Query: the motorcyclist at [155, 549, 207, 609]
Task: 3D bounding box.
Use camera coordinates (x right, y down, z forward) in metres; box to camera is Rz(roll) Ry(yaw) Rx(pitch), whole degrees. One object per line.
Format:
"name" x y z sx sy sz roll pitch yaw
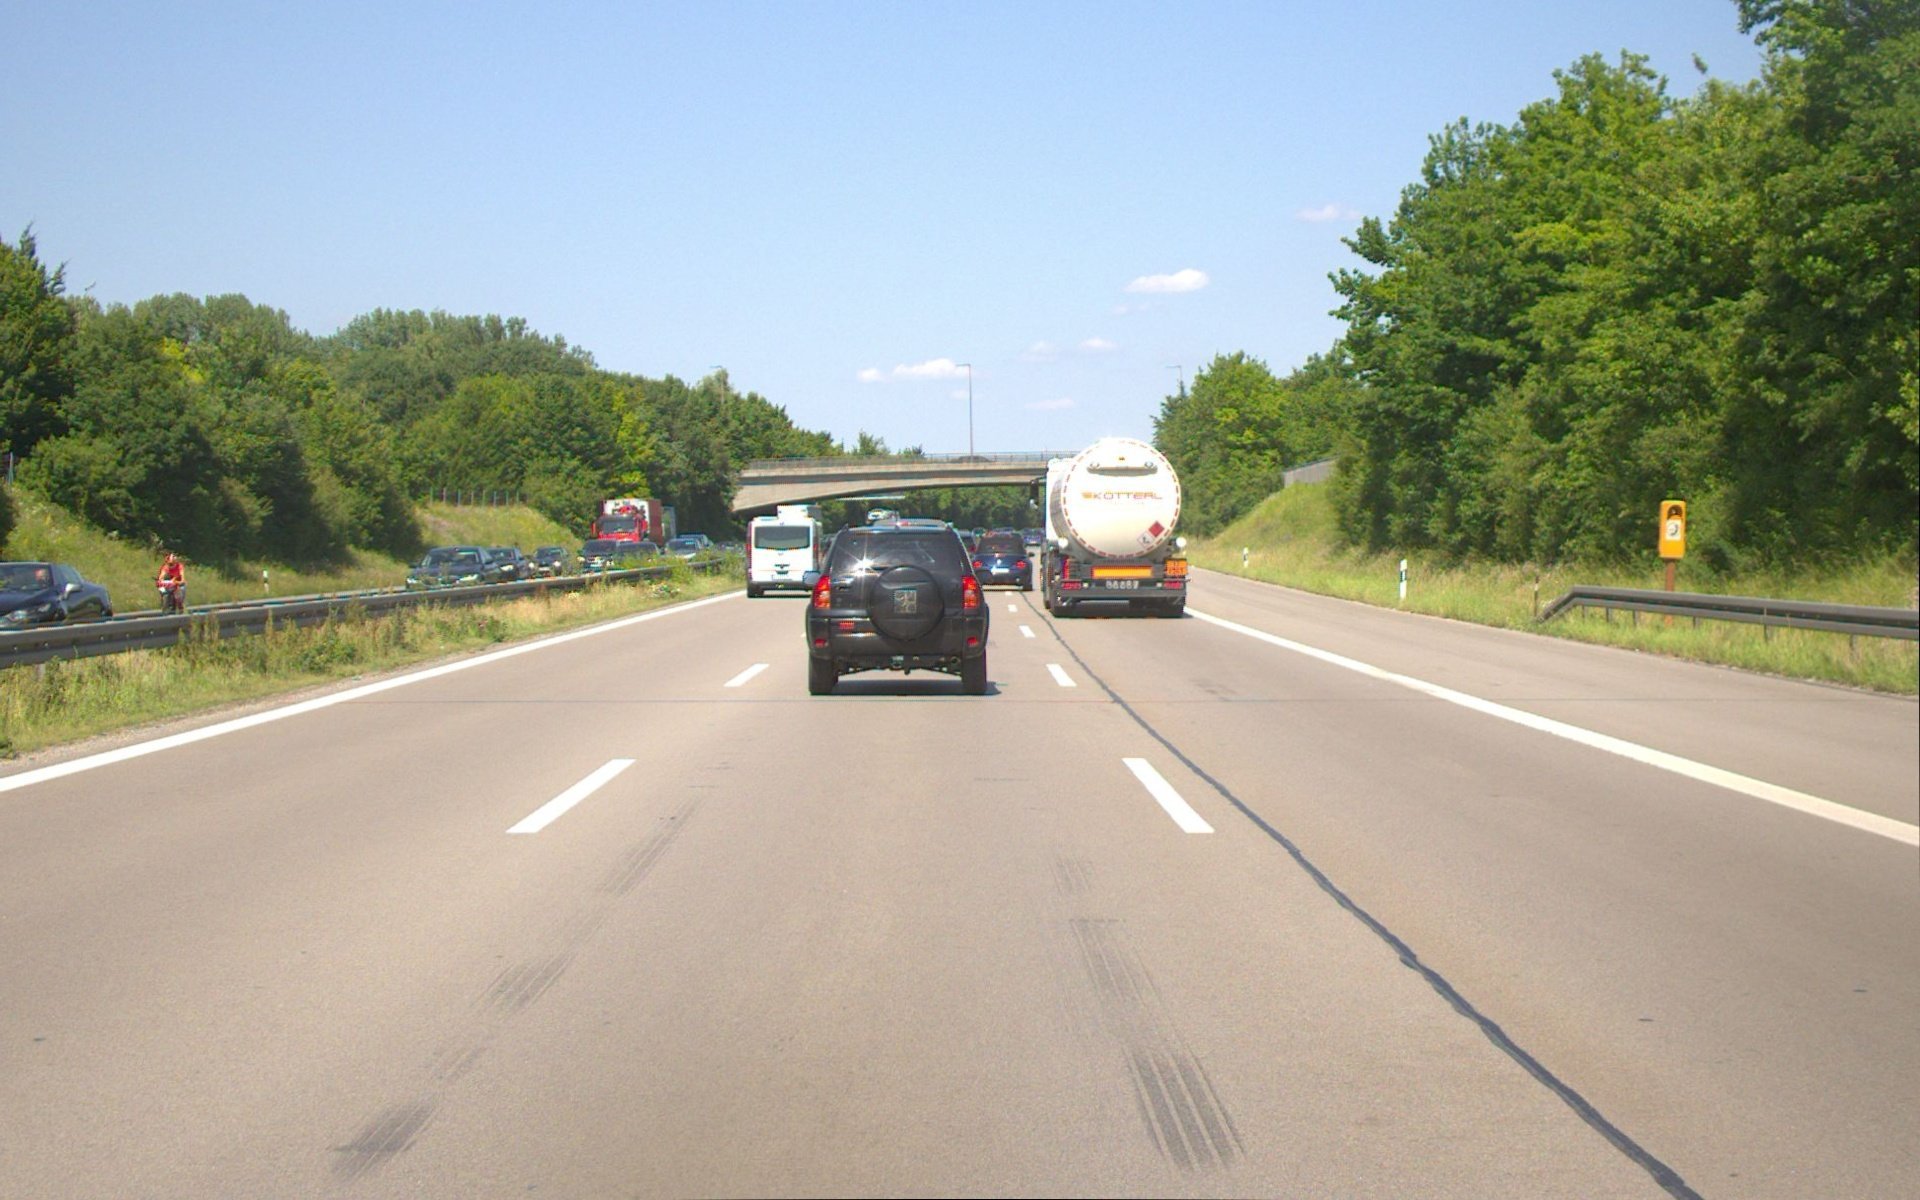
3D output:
"motorcyclist" -19.372 -0.521 85.520 0.940 1.438 1.357 -2 1 -1

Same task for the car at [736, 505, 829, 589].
"car" -4.505 -1.358 87.789 1.993 2.007 4.950 -2 1 1

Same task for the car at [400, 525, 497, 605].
"car" -12.668 -0.895 85.345 1.690 1.875 5.019 -2 1 -1

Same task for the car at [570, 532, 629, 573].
"car" -15.398 -2.056 147.005 1.993 1.624 4.575 -2 1 0

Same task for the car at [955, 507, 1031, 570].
"car" 0.941 -1.697 95.867 1.993 1.678 4.000 -1 0 2

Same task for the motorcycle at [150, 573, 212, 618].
"motorcycle" -19.355 -0.124 85.466 0.935 1.014 2.655 -2 1 -1

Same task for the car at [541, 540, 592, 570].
"car" -18.144 -2.086 158.624 1.747 1.293 5.063 -2 1 0

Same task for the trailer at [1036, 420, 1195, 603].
"trailer" 3.014 -1.774 69.430 2.648 3.378 11.152 0 1 0

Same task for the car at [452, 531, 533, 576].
"car" -16.331 -1.643 120.326 1.993 1.470 5.623 -2 1 0

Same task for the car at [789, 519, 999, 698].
"car" -0.607 0.037 34.648 1.906 1.659 4.000 -1 1 1

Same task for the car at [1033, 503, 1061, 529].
"car" 5.989 -5.823 237.610 1.812 1.740 4.000 -2 1 1

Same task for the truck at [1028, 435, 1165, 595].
"truck" 2.956 -1.875 76.046 2.638 3.363 6.488 0 1 -1

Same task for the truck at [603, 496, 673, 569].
"truck" -17.702 -3.765 189.579 2.679 3.756 9.919 -3 1 1

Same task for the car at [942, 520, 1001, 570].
"car" 0.453 -2.052 127.669 1.994 1.744 4.205 -1 1 2

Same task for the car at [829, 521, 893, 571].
"car" -3.227 -1.753 112.921 1.993 1.547 4.000 -1 0 -1

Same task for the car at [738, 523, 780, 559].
"car" -10.885 -3.218 186.288 1.993 1.859 4.899 -2 1 -1

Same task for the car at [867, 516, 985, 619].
"car" -0.583 -0.607 61.653 1.993 1.700 4.336 -2 1 0

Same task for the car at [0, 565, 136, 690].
"car" -12.588 0.346 46.214 1.993 1.515 4.428 -2 1 -1
